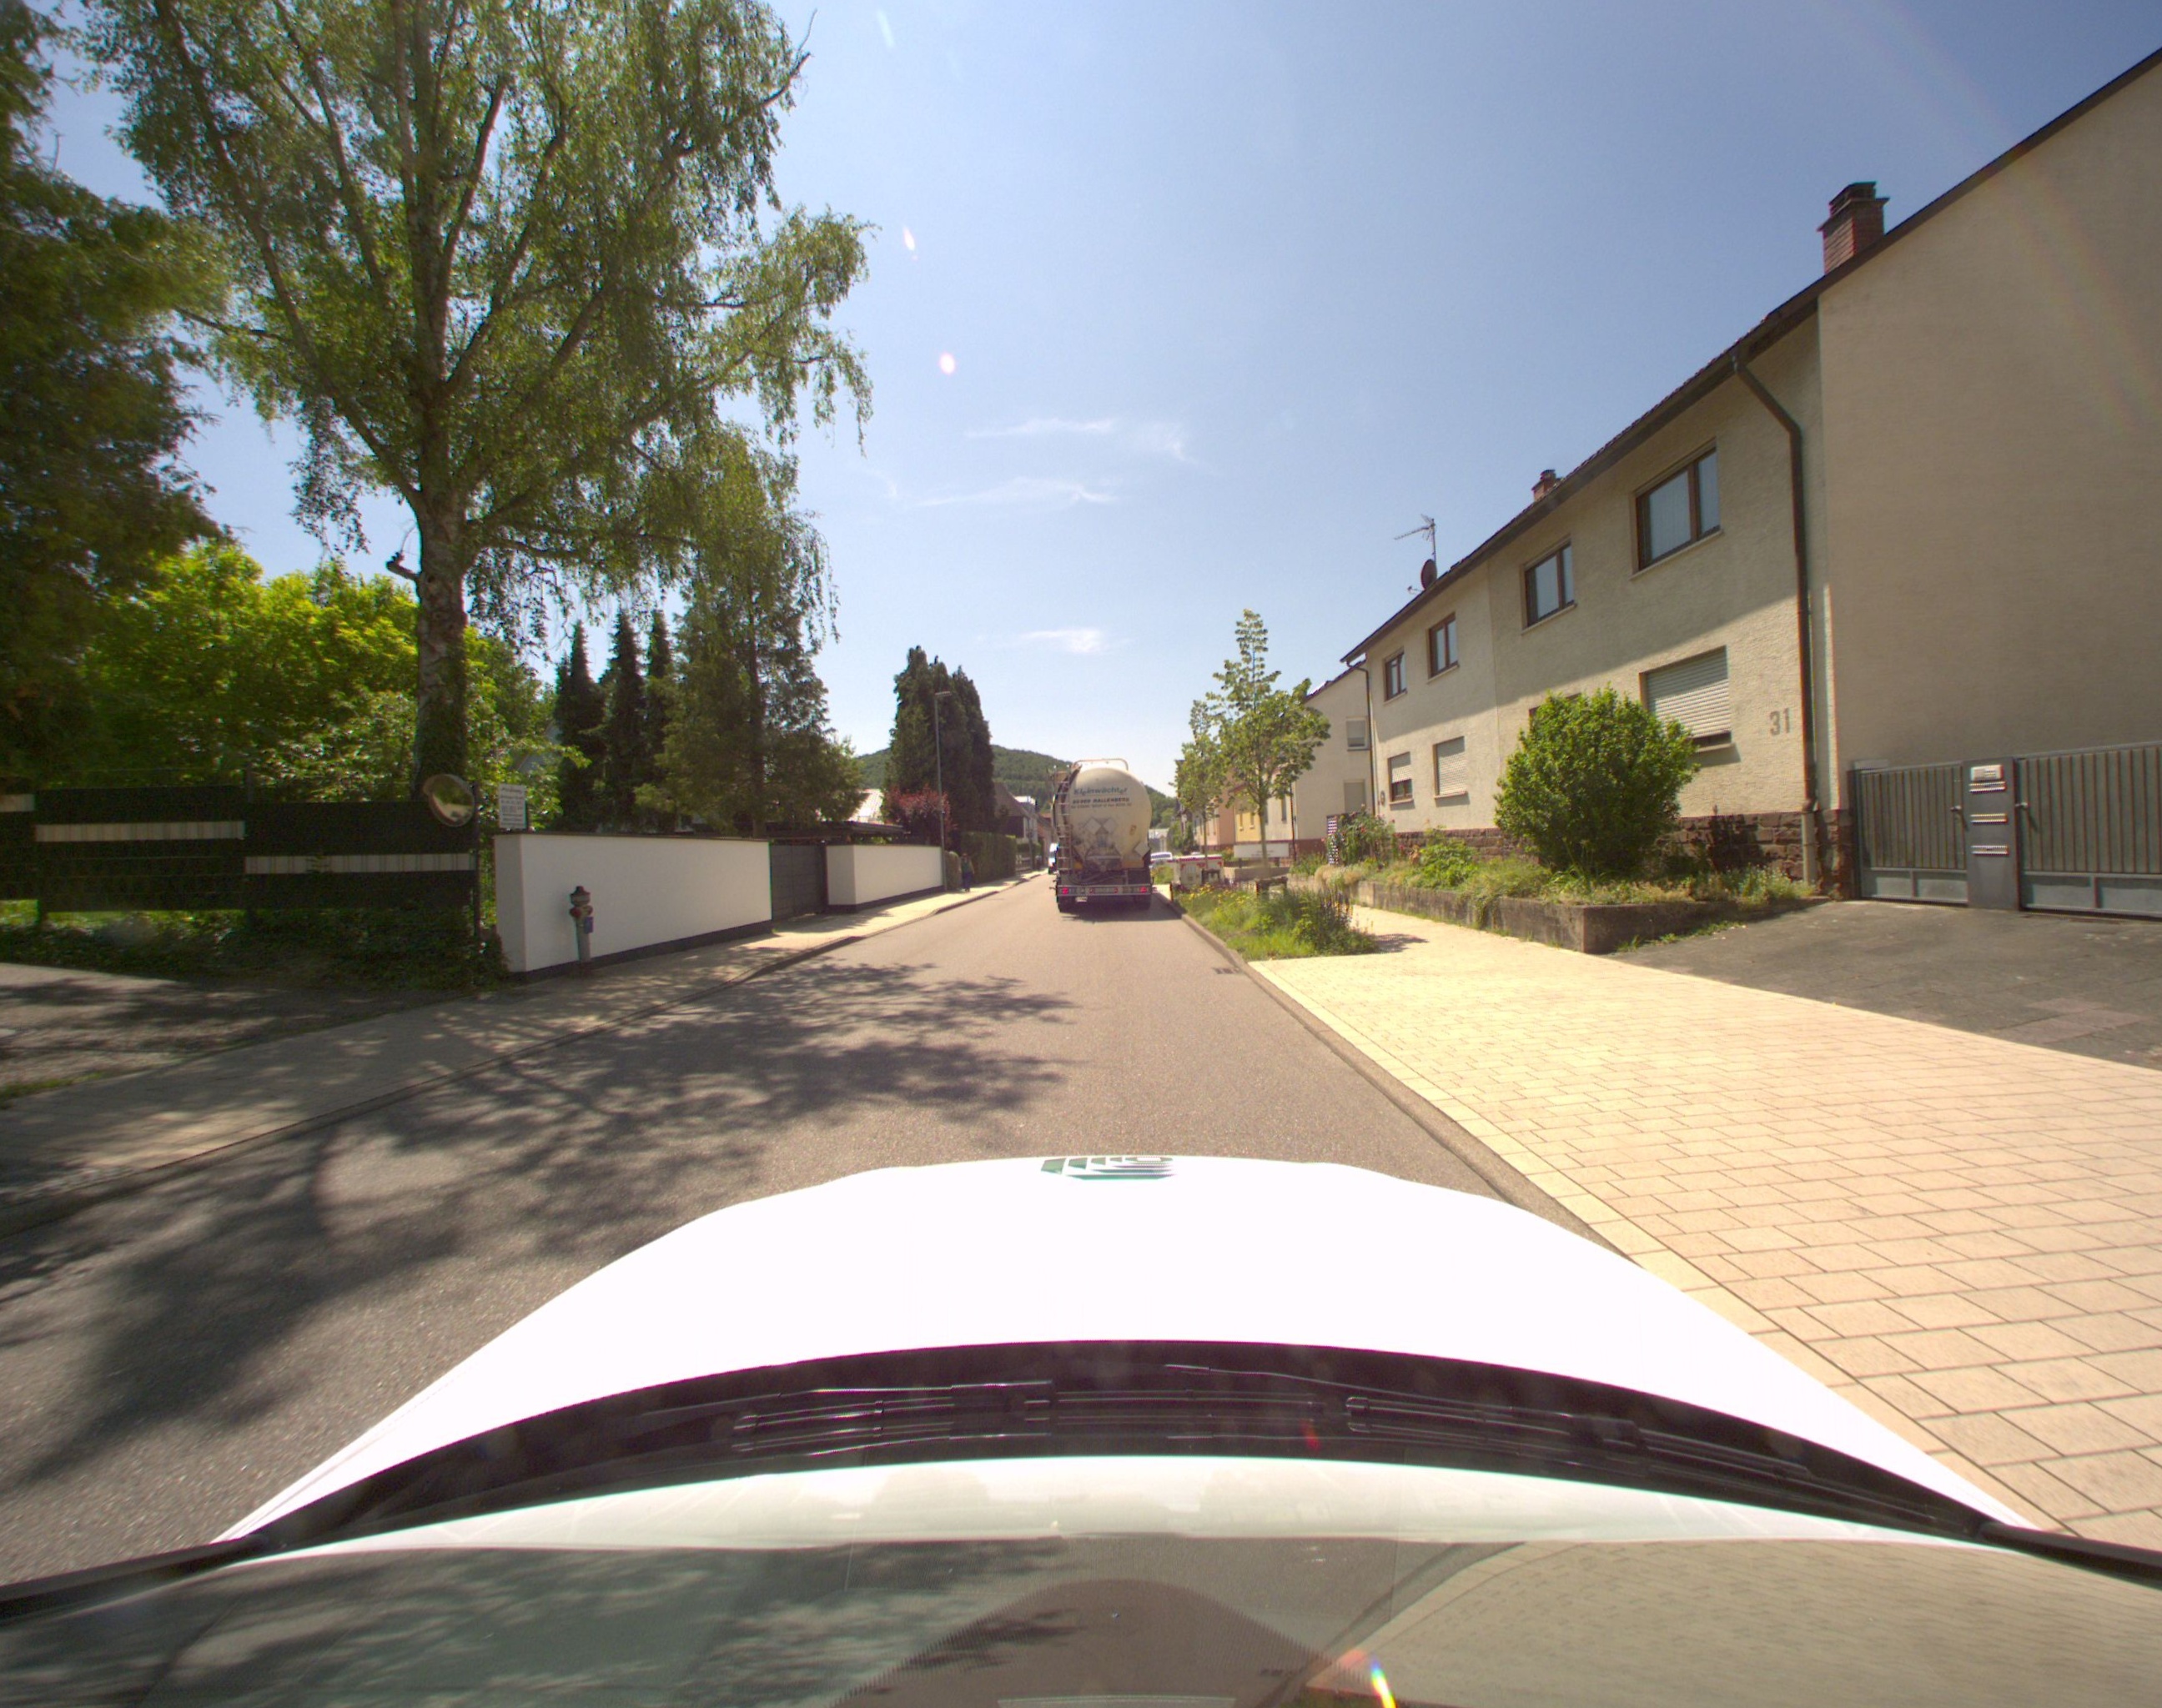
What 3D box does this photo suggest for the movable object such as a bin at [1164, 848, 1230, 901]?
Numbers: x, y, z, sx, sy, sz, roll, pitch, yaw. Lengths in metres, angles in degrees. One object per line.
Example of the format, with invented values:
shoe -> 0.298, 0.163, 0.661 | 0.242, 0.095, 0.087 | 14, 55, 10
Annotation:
movable object such as a bin -> 3.443, 0.610, 24.631 | 1.566, 1.417, 3.041 | -3, -1, 1

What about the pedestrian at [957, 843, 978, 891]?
pedestrian -> -4.848, 0.545, 34.815 | 0.718, 2.014, 0.804 | -1, -1, 0

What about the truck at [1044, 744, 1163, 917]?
truck -> 0.640, -0.548, 24.874 | 2.740, 4.057, 10.891 | -1, 0, 1

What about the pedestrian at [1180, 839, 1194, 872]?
pedestrian -> 6.562, 0.116, 50.401 | 0.743, 2.014, 1.034 | -1, -1, 3

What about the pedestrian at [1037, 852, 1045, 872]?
pedestrian -> -3.779, 0.772, 76.495 | 0.710, 1.823, 0.897 | -1, -1, -2

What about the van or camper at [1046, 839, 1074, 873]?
van or camper -> -1.734, 0.251, 68.559 | 2.030, 2.714, 5.825 | -1, -1, 1

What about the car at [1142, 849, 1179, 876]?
car -> 4.648, 0.543, 48.028 | 1.750, 1.418, 4.633 | -4, -2, 1
